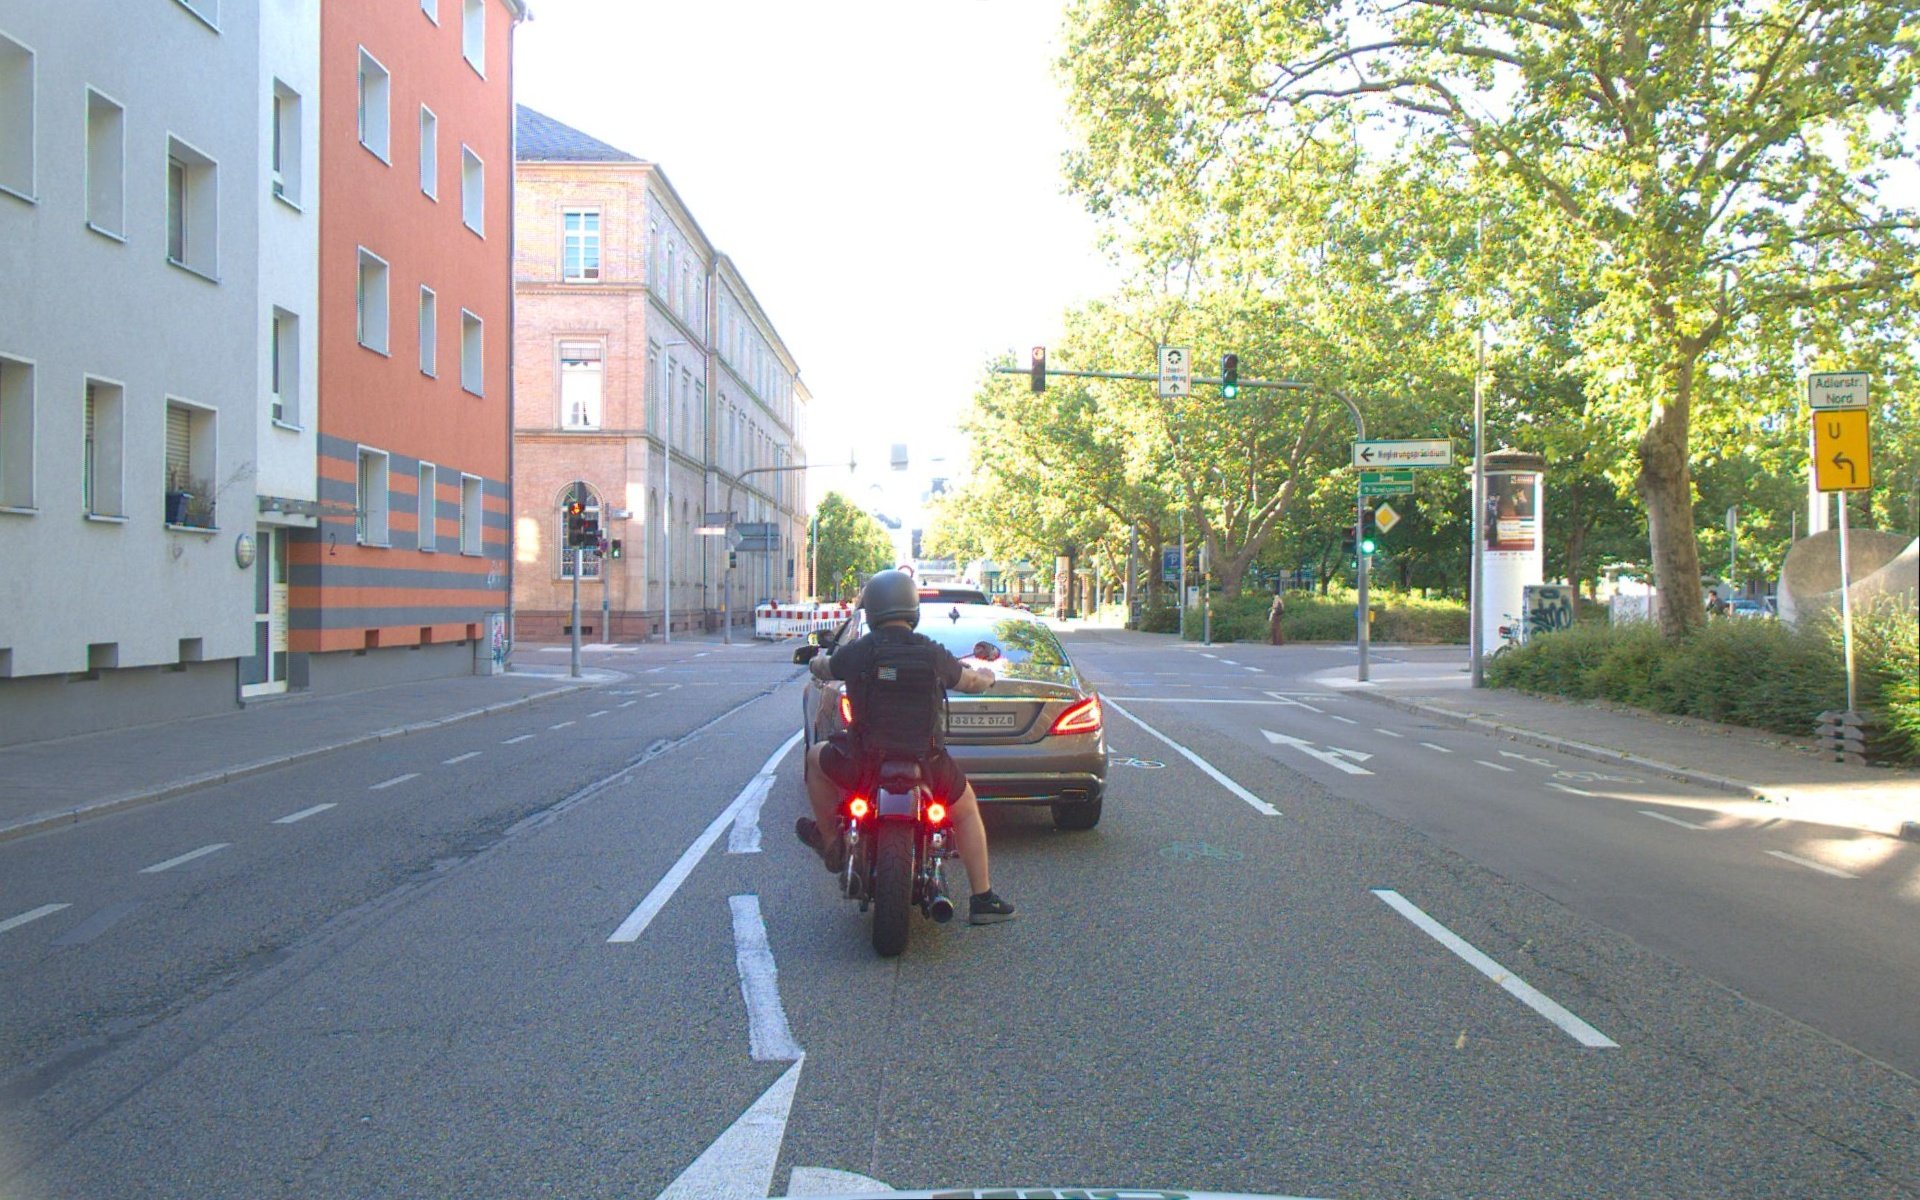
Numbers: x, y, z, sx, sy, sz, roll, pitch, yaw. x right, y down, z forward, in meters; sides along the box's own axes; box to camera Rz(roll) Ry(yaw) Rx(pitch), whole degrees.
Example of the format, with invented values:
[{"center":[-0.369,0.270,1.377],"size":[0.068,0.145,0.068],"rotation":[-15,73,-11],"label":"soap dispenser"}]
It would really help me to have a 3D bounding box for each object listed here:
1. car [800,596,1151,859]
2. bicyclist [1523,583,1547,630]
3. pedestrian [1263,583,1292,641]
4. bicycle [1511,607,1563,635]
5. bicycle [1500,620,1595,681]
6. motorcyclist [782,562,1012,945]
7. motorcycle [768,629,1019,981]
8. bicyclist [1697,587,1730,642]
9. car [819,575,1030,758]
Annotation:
[{"center":[-0.109,0.710,11.614],"size":[1.834,1.469,4.422],"rotation":[0,0,-8],"label":"car"},{"center":[16.974,0.203,48.836],"size":[0.511,1.371,0.543],"rotation":[1,-1,2],"label":"bicyclist"},{"center":[10.097,0.381,52.599],"size":[0.666,1.803,0.614],"rotation":[0,-1,39],"label":"pedestrian"},{"center":[17.033,0.615,48.826],"size":[1.340,0.814,0.512],"rotation":[1,0,2],"label":"bicycle"},{"center":[9.792,0.838,27.590],"size":[1.452,0.997,0.299],"rotation":[1,-1,5],"label":"bicycle"},{"center":[-0.274,0.642,7.563],"size":[0.961,1.606,1.248],"rotation":[0,0,-1],"label":"motorcyclist"},{"center":[-0.272,0.807,7.552],"size":[0.961,1.297,2.407],"rotation":[0,0,-1],"label":"motorcycle"},{"center":[22.276,0.422,48.906],"size":[0.715,1.610,0.597],"rotation":[1,-1,5],"label":"bicyclist"},{"center":[-0.358,0.634,17.533],"size":[1.953,1.695,3.999],"rotation":[1,0,-1],"label":"car"}]
